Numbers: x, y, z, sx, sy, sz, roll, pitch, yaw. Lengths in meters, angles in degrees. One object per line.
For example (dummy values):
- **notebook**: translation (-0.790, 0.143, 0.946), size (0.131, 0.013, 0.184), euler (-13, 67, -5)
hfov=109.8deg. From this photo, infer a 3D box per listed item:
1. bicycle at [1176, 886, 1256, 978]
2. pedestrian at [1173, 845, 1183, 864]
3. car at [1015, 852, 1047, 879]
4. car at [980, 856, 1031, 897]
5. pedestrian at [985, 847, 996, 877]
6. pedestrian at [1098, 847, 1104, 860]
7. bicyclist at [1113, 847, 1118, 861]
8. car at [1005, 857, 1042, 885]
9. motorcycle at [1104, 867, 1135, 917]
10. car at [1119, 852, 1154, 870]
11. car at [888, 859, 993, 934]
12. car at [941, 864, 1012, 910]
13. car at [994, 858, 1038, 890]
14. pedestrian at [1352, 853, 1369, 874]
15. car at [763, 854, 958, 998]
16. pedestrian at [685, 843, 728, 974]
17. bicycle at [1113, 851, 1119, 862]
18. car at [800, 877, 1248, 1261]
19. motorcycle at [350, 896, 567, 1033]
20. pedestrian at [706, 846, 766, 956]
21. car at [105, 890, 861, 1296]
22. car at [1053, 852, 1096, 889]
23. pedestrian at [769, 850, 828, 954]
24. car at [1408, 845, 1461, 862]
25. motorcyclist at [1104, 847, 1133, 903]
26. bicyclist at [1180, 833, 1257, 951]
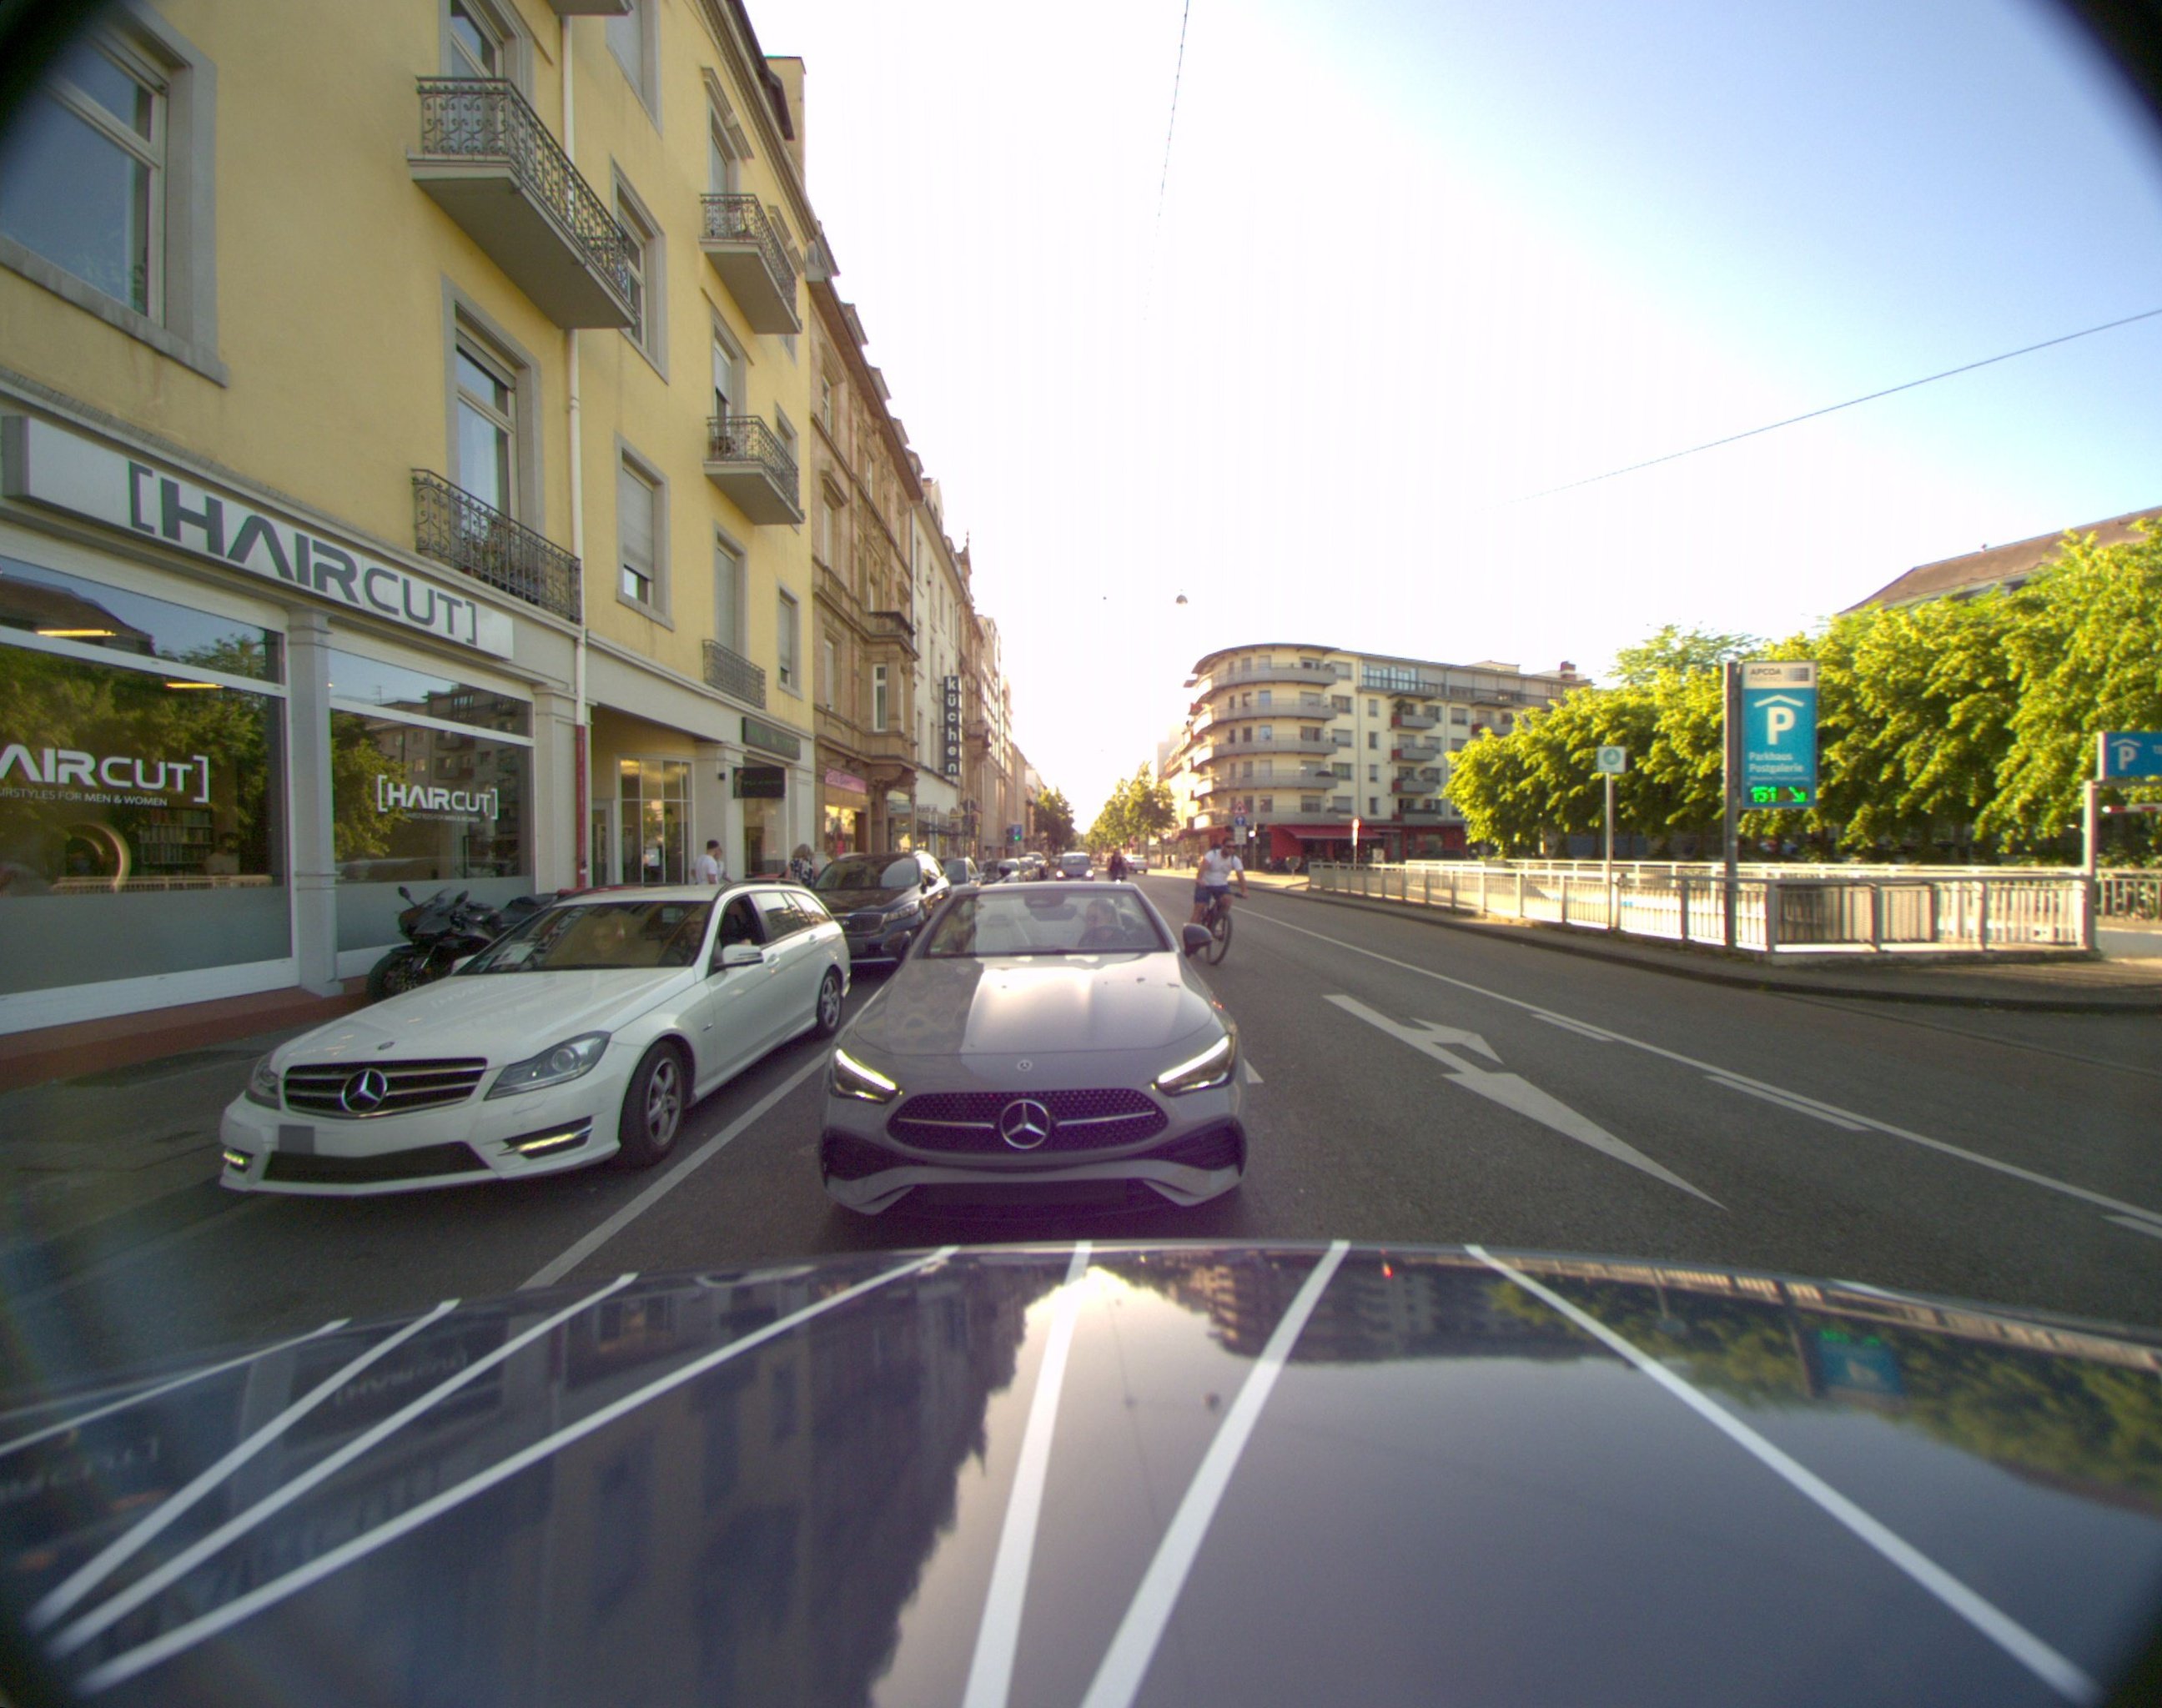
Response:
- **bicycle**: translation (1.886, 1.060, 10.934), size (0.641, 1.078, 2.060), euler (-1, 0, -4)
- **pedestrian**: translation (10.408, 0.018, 81.620), size (0.860, 2.002, 0.889), euler (-2, 1, 0)
- **car**: translation (-3.058, 0.692, 47.462), size (1.725, 1.506, 4.004), euler (-2, 1, -1)
- **car**: translation (-2.980, 0.869, 30.744), size (1.660, 1.423, 4.085), euler (-2, 1, -1)
- **pedestrian**: translation (-5.718, 0.517, 48.076), size (0.574, 1.840, 0.665), euler (-2, 1, 1)
- **pedestrian**: translation (3.175, -0.117, 118.496), size (0.860, 2.002, 0.889), euler (-2, 1, 1)
- **bicyclist**: translation (4.050, 0.010, 88.950), size (0.524, 1.539, 0.799), euler (-2, 1, 7)
- **car**: translation (-3.074, 0.877, 41.192), size (1.725, 1.332, 3.668), euler (-2, 1, -1)
- **motorcycle**: translation (1.009, 0.986, 20.322), size (0.720, 1.177, 1.906), euler (-2, 1, 1)
- **car**: translation (4.527, 0.583, 62.575), size (1.825, 1.346, 4.259), euler (1, 1, -11)
- **car**: translation (-3.296, 0.938, 18.613), size (1.802, 1.518, 4.085), euler (-2, 1, -1)
- **car**: translation (-3.409, 1.032, 25.424), size (1.802, 1.259, 4.085), euler (-2, 1, -1)
- **car**: translation (-3.112, 0.914, 36.855), size (1.802, 1.332, 3.838), euler (-2, 1, -1)
- **pedestrian**: translation (21.795, 0.709, 59.173), size (0.863, 1.586, 0.887), euler (-3, 1, -38)
- **car**: translation (-3.005, 0.863, 11.316), size (1.803, 1.629, 4.243), euler (-2, 1, -3)
- **pedestrian**: translation (-5.841, 0.825, 11.840), size (0.375, 1.971, 0.692), euler (-2, 1, -43)
- **bicycle**: translation (4.073, 0.303, 88.998), size (0.527, 1.163, 1.594), euler (-2, 1, 7)
- **car**: translation (-0.267, 0.950, 5.146), size (1.802, 1.351, 3.999), euler (-2, 1, -1)
- **motorcycle**: translation (-6.194, 1.041, 7.726), size (0.567, 1.072, 1.954), euler (2, 1, 1)
- **pedestrian**: translation (-5.937, 0.798, 13.102), size (0.664, 1.840, 0.575), euler (-2, 1, 2)
- **car**: translation (-3.071, 1.085, 5.290), size (1.704, 1.351, 4.378), euler (-2, 1, 1)
- **car**: translation (-0.276, 0.722, 36.098), size (1.856, 1.543, 3.999), euler (-2, 1, 1)
- **pedestrian**: translation (-4.615, 0.769, 12.449), size (0.719, 1.644, 0.605), euler (-1, 1, -5)
- **car**: translation (29.048, -0.058, 62.425), size (4.004, 1.294, 1.753), euler (-2, 1, -23)
- **motorcyclist**: translation (0.996, 0.541, 20.314), size (0.722, 1.438, 0.705), euler (-2, 1, 1)
- **bicyclist**: translation (1.972, 0.536, 11.002), size (0.885, 1.625, 0.768), euler (-2, 0, -4)
